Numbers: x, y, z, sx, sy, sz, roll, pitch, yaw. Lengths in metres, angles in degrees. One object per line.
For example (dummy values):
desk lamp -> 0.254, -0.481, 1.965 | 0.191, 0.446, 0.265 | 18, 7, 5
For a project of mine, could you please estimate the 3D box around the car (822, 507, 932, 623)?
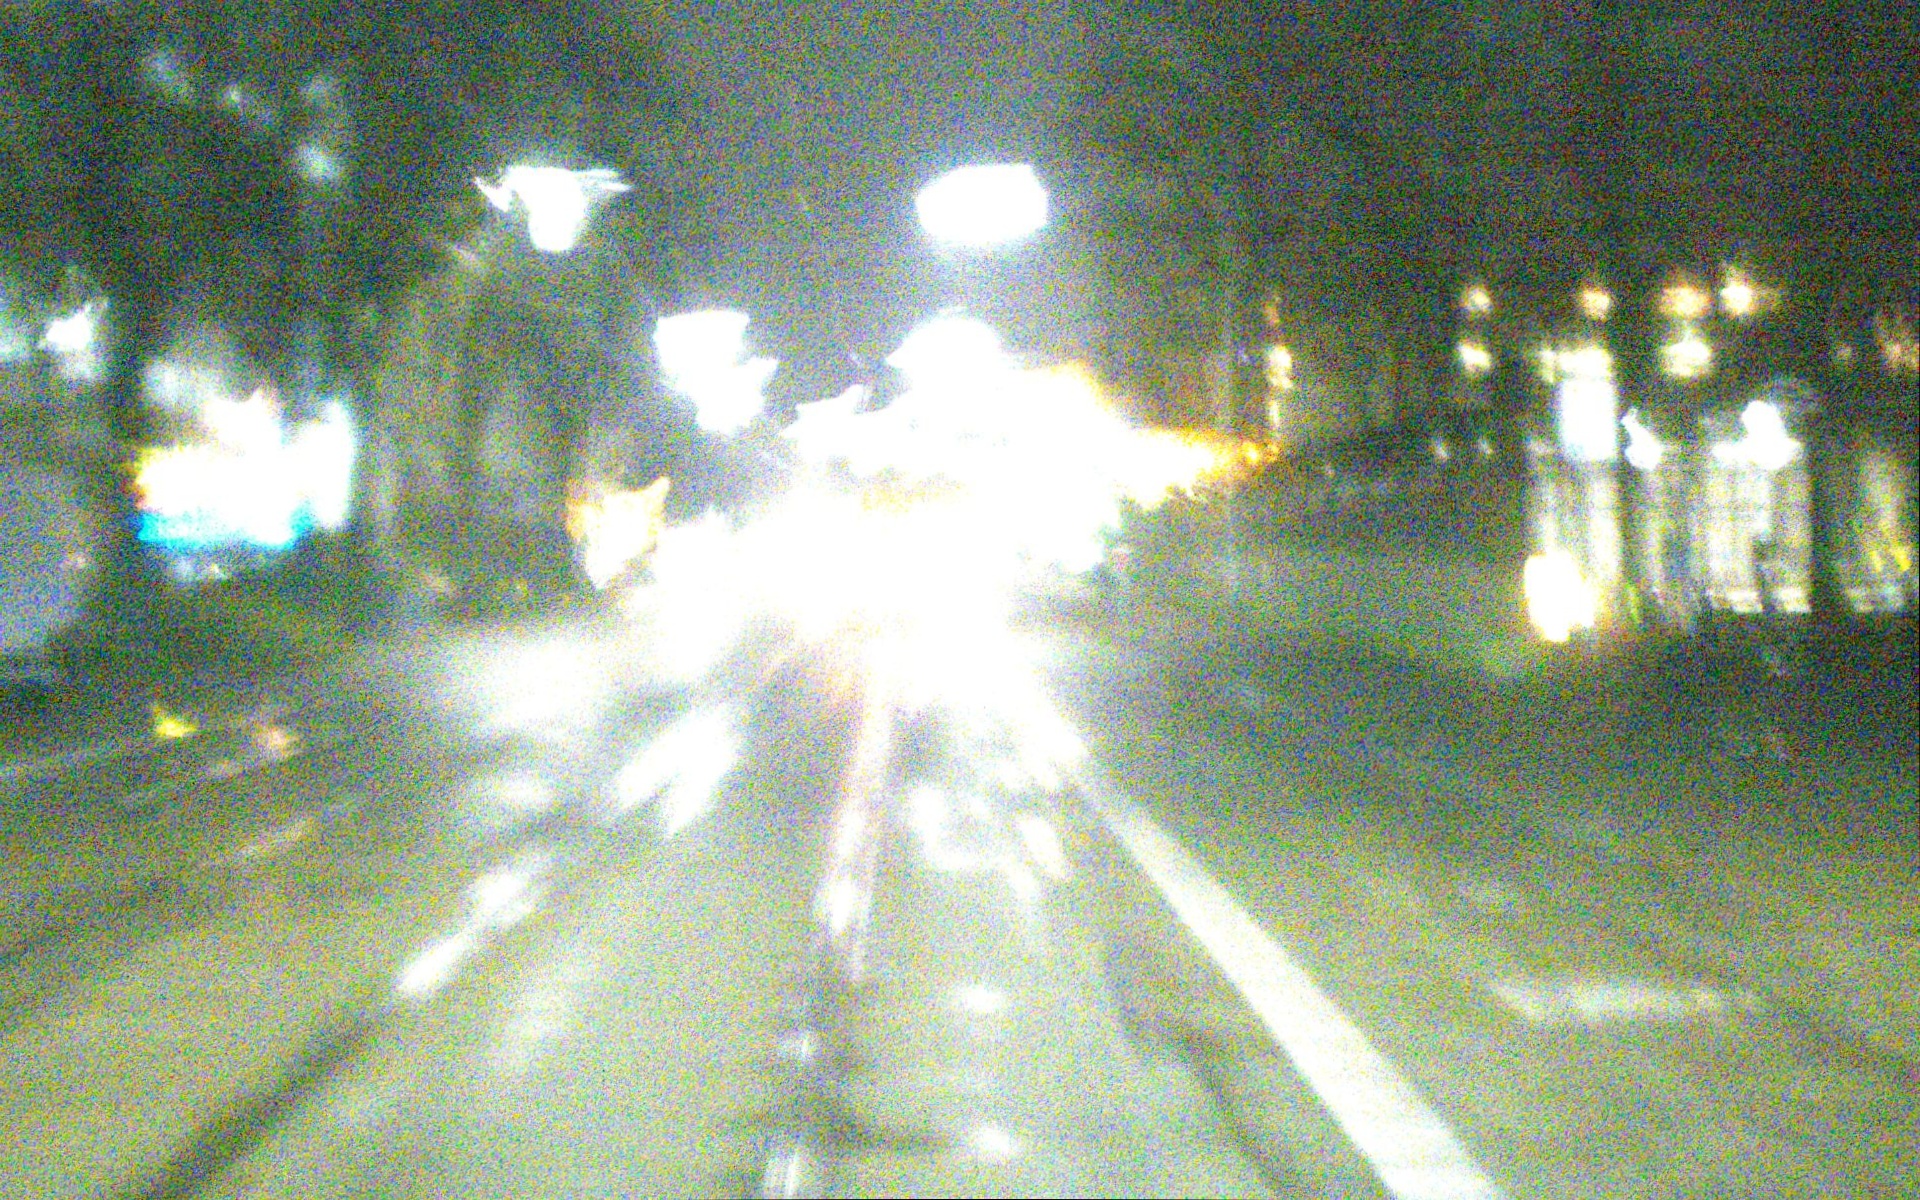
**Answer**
car -> -1.769, -0.739, 72.203 | 2.244, 2.353, 4.394 | 0, 1, -2

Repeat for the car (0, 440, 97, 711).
car -> -10.249, -0.242, 32.981 | 2.185, 2.583, 6.392 | 0, 2, 1
